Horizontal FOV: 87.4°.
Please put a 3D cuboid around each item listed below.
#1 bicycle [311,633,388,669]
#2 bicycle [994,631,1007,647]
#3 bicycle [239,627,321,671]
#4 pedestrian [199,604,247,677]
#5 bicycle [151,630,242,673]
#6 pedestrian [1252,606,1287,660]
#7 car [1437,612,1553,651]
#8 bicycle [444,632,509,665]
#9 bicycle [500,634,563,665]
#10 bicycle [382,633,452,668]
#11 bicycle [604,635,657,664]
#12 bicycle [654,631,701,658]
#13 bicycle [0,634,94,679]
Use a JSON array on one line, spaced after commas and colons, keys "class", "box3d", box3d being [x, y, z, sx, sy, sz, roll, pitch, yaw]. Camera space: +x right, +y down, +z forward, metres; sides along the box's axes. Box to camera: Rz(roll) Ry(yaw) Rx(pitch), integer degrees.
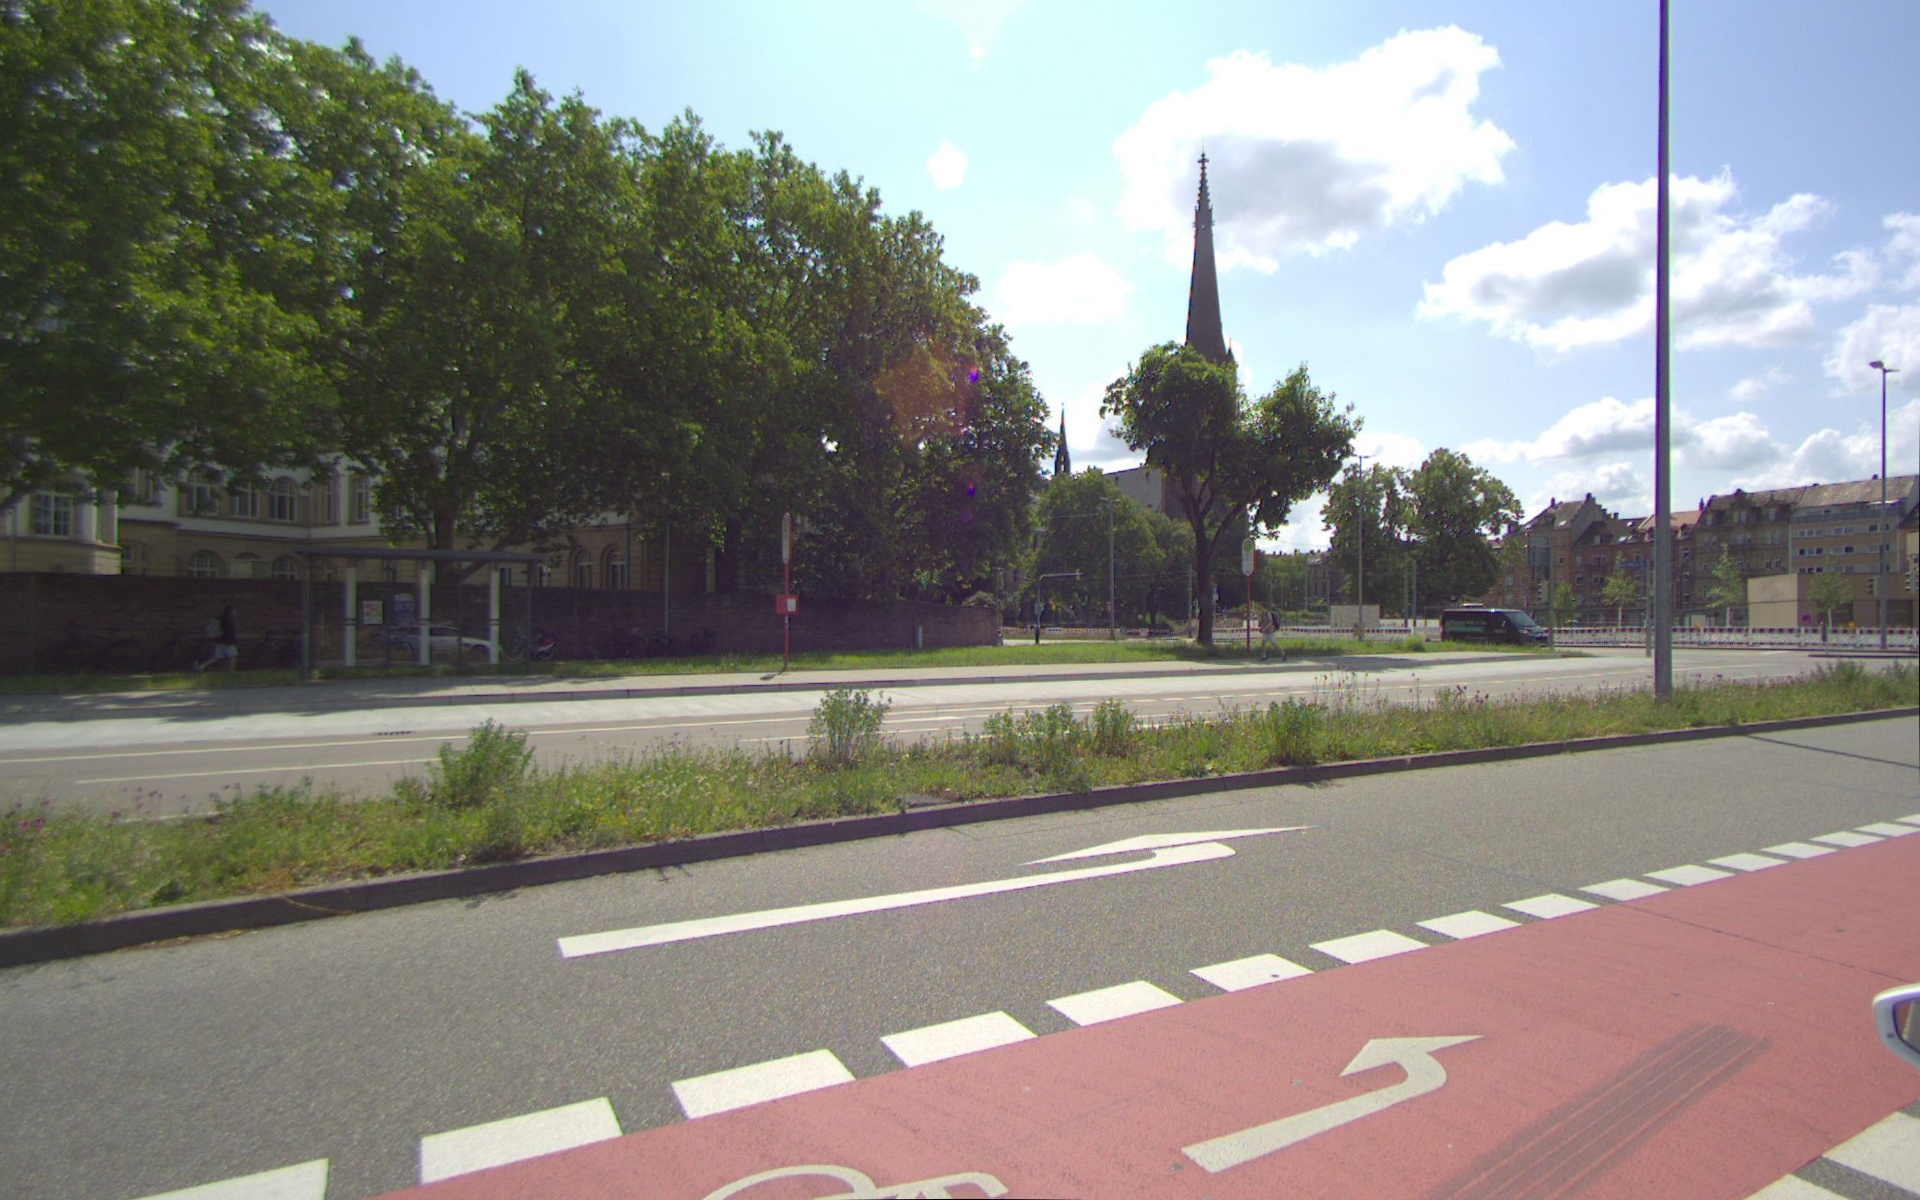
[{"class": "bicycle", "box3d": [-16.179, 1.339, 26.649, 0.537, 0.914, 1.658, 0, -1, 39]}, {"class": "bicycle", "box3d": [2.475, 2.346, 60.741, 0.534, 0.914, 1.666, 0, -1, 12]}, {"class": "bicycle", "box3d": [-17.020, 1.209, 25.161, 0.538, 1.065, 1.615, 0, -1, 43]}, {"class": "pedestrian", "box3d": [-16.866, 0.914, 22.989, 0.607, 1.638, 0.754, 1, 0, 39]}, {"class": "bicycle", "box3d": [-18.168, 1.213, 23.926, 0.538, 0.964, 1.656, 0, -1, 43]}, {"class": "pedestrian", "box3d": [9.063, 0.959, 29.417, 0.859, 1.580, 0.555, 0, -1, -1]}, {"class": "car", "box3d": [27.386, 1.572, 51.573, 1.908, 1.904, 4.980, 0, -1, -33]}, {"class": "bicycle", "box3d": [-14.111, 1.397, 29.363, 0.537, 0.914, 1.658, 0, -1, 39]}, {"class": "bicycle", "box3d": [-13.134, 1.504, 30.855, 0.446, 0.914, 1.786, 0, -1, 39]}, {"class": "bicycle", "box3d": [-15.128, 1.397, 28.010, 0.537, 0.914, 1.658, 0, -1, 39]}, {"class": "bicycle", "box3d": [-11.043, 1.642, 33.725, 0.537, 0.914, 1.658, 0, -1, 39]}, {"class": "bicycle", "box3d": [-9.973, 1.553, 35.516, 0.536, 0.914, 1.660, 0, -1, 34]}, {"class": "bicycle", "box3d": [-19.932, 1.213, 21.819, 0.538, 0.914, 1.655, 0, -1, 44]}]
